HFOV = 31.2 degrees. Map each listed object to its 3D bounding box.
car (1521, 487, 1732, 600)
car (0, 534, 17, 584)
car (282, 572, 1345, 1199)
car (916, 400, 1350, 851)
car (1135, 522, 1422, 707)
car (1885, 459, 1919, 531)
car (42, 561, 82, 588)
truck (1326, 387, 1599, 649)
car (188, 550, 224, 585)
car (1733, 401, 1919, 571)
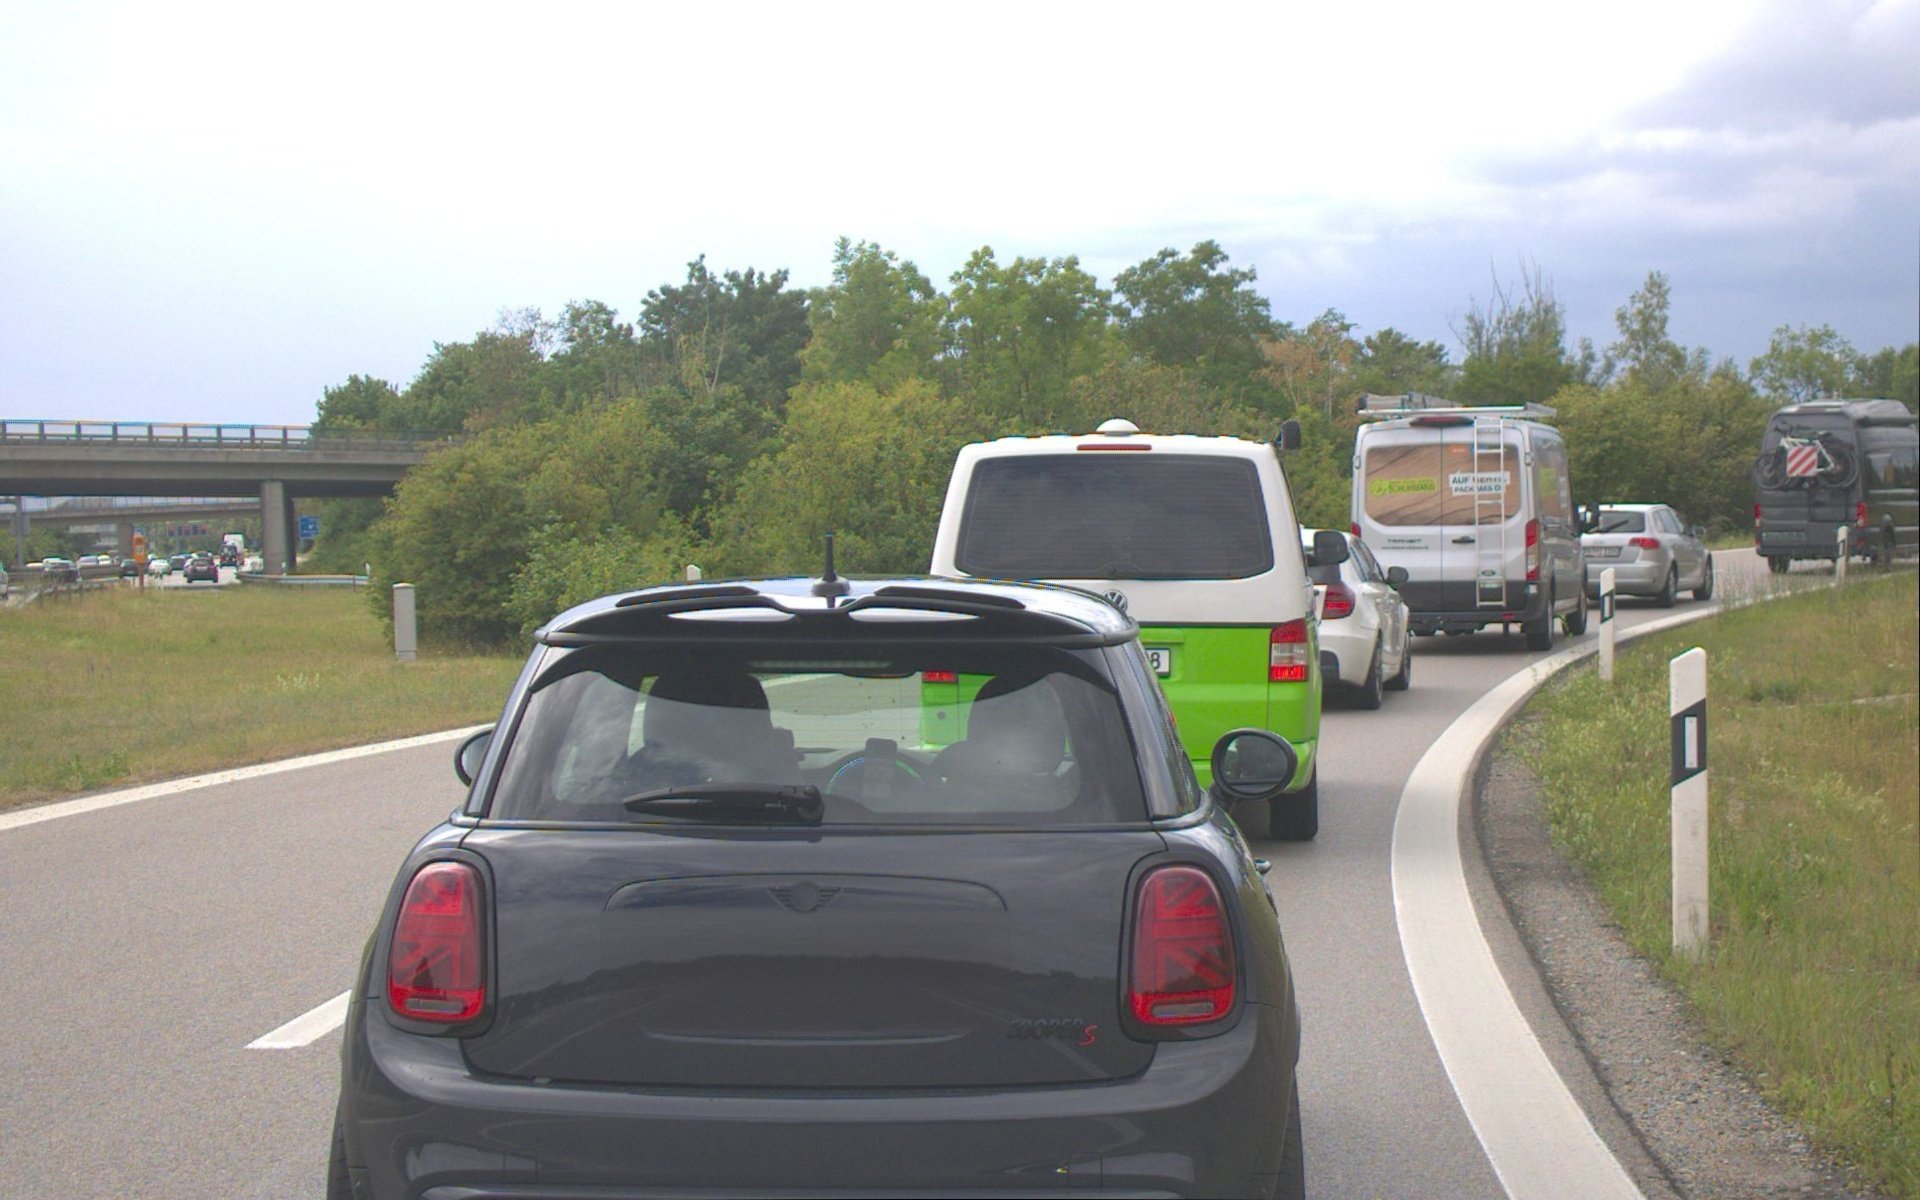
[{"bbox_3d":[9.358,-0.795,48.060,1.869,1.504,3.994,0,1,27],"label":"car"},{"bbox_3d":[-34.572,-1.447,121.655,1.876,1.745,4.488,-1,1,-9],"label":"car"},{"bbox_3d":[-0.265,0.660,7.460,1.727,1.409,3.725,0,1,-1],"label":"car"},{"bbox_3d":[0.991,0.074,17.384,1.785,2.007,3.999,0,1,9],"label":"car"},{"bbox_3d":[2.651,0.083,27.889,1.763,1.394,3.723,0,1,14],"label":"car"},{"bbox_3d":[22.112,-2.301,75.795,1.837,1.560,4.488,0,1,36],"label":"car"},{"bbox_3d":[-50.046,-1.422,191.644,1.721,1.419,4.799,-1,1,-10],"label":"car"},{"bbox_3d":[5.590,-0.913,37.651,2.180,2.649,5.105,0,2,17],"label":"truck"},{"bbox_3d":[-44.287,-1.912,201.957,1.993,2.007,4.001,1,0,-12],"label":"car"},{"bbox_3d":[14.870,-1.926,58.614,2.108,2.786,3.993,1,2,31],"label":"car"}]
